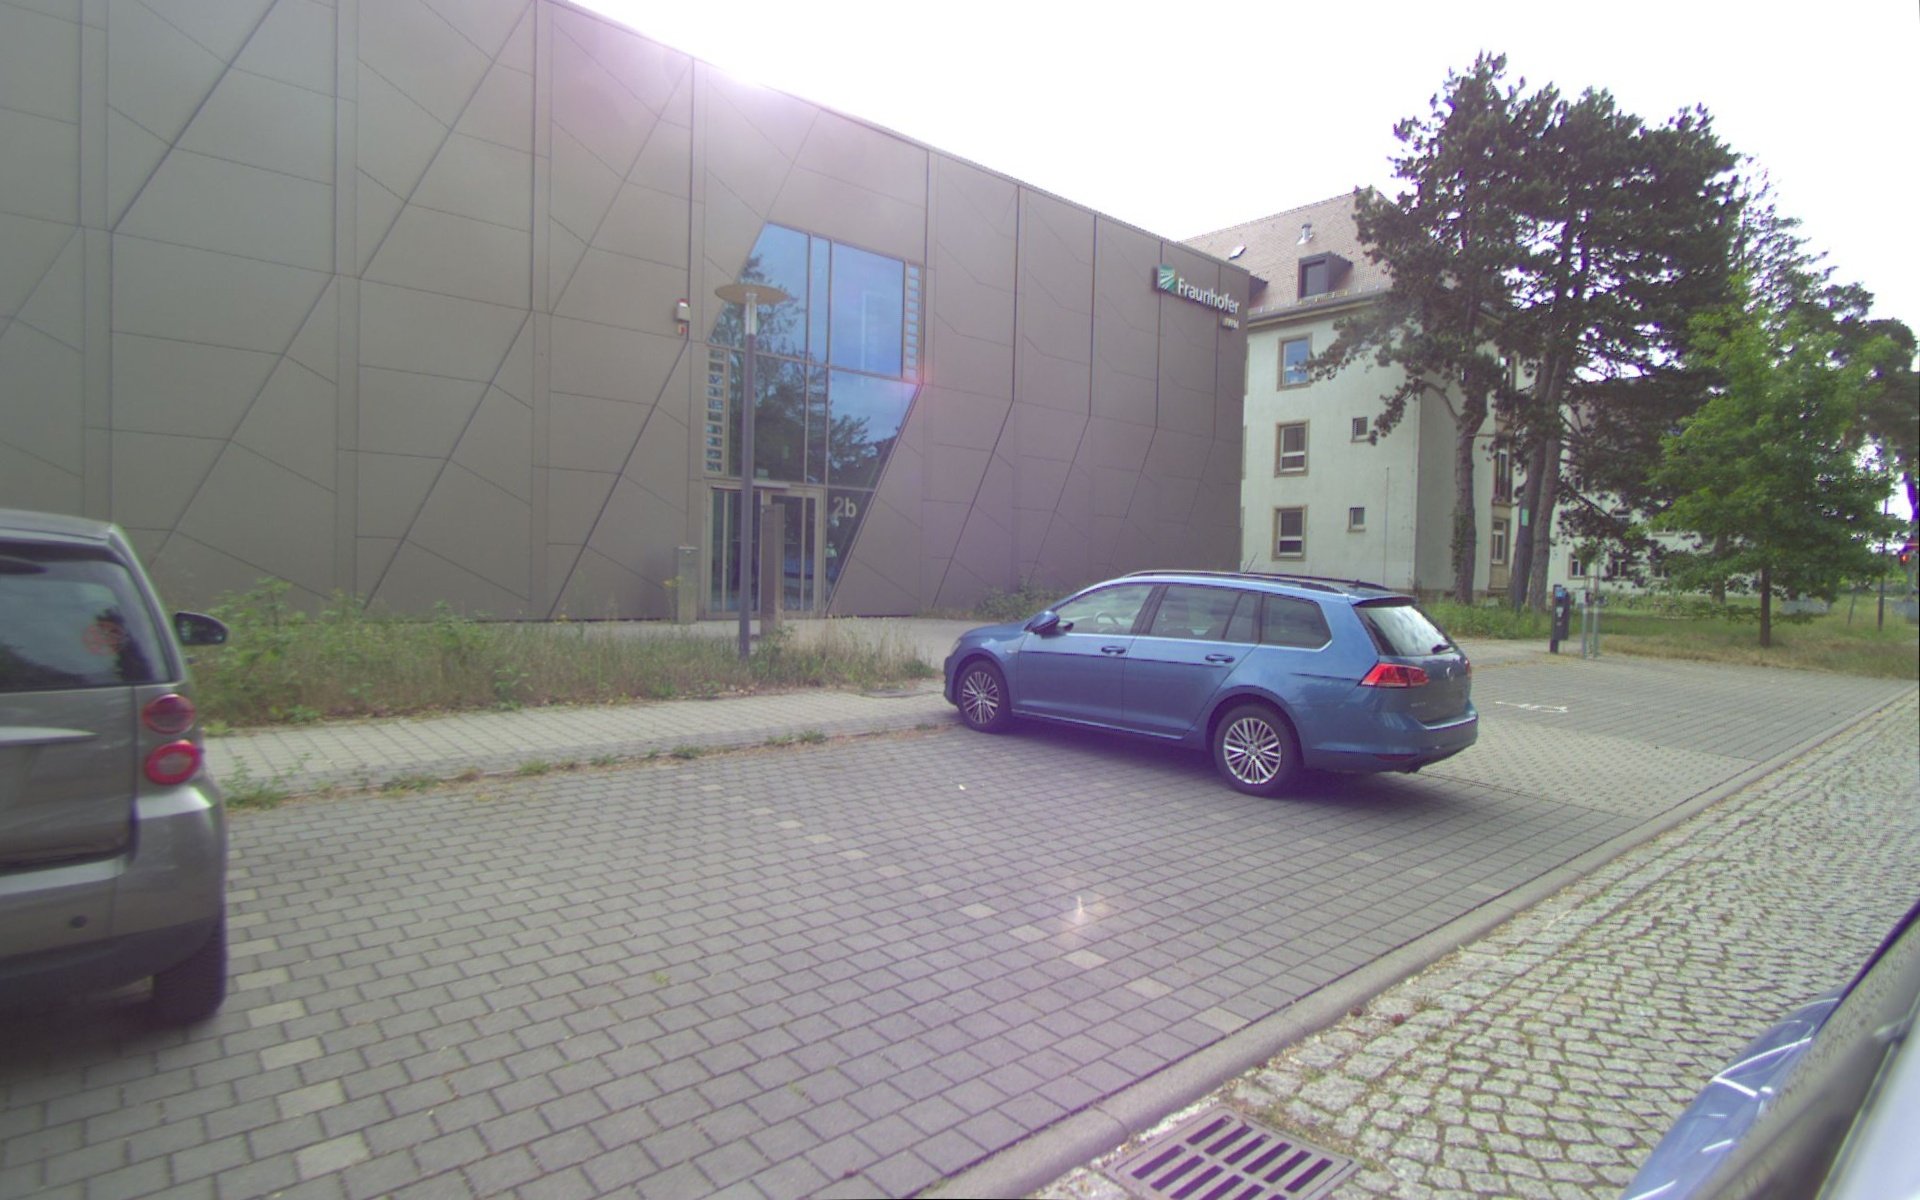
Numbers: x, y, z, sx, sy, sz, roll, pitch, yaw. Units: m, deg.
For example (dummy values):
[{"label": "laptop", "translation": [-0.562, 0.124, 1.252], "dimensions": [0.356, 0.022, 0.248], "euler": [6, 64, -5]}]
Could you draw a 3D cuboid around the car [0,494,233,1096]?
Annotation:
[{"label": "car", "translation": [-3.609, 0.414, 3.457], "dimensions": [1.624, 1.575, 2.717], "euler": [0, 4, -40]}]

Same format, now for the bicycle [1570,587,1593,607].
[{"label": "bicycle", "translation": [35.886, -0.179, 58.415], "dimensions": [1.697, 1.141, 0.448], "euler": [0, 1, -33]}]

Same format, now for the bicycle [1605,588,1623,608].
[{"label": "bicycle", "translation": [37.033, -0.108, 57.306], "dimensions": [1.629, 1.141, 0.476], "euler": [0, 2, -43]}]

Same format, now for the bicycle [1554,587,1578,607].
[{"label": "bicycle", "translation": [35.332, -0.183, 58.983], "dimensions": [1.697, 1.141, 0.448], "euler": [0, 1, -33]}]

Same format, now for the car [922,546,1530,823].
[{"label": "car", "translation": [1.861, 0.415, 8.271], "dimensions": [1.800, 1.493, 4.497], "euler": [0, 4, -43]}]

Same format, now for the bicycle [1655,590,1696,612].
[{"label": "bicycle", "translation": [38.079, 0.053, 53.856], "dimensions": [0.604, 1.099, 1.653], "euler": [0, 2, -44]}]

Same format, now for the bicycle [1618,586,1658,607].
[{"label": "bicycle", "translation": [36.867, -0.181, 55.042], "dimensions": [0.603, 1.099, 1.655], "euler": [0, 2, -39]}]

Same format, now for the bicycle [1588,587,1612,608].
[{"label": "bicycle", "translation": [36.455, -0.145, 57.623], "dimensions": [1.670, 1.141, 0.477], "euler": [0, 1, -33]}]
